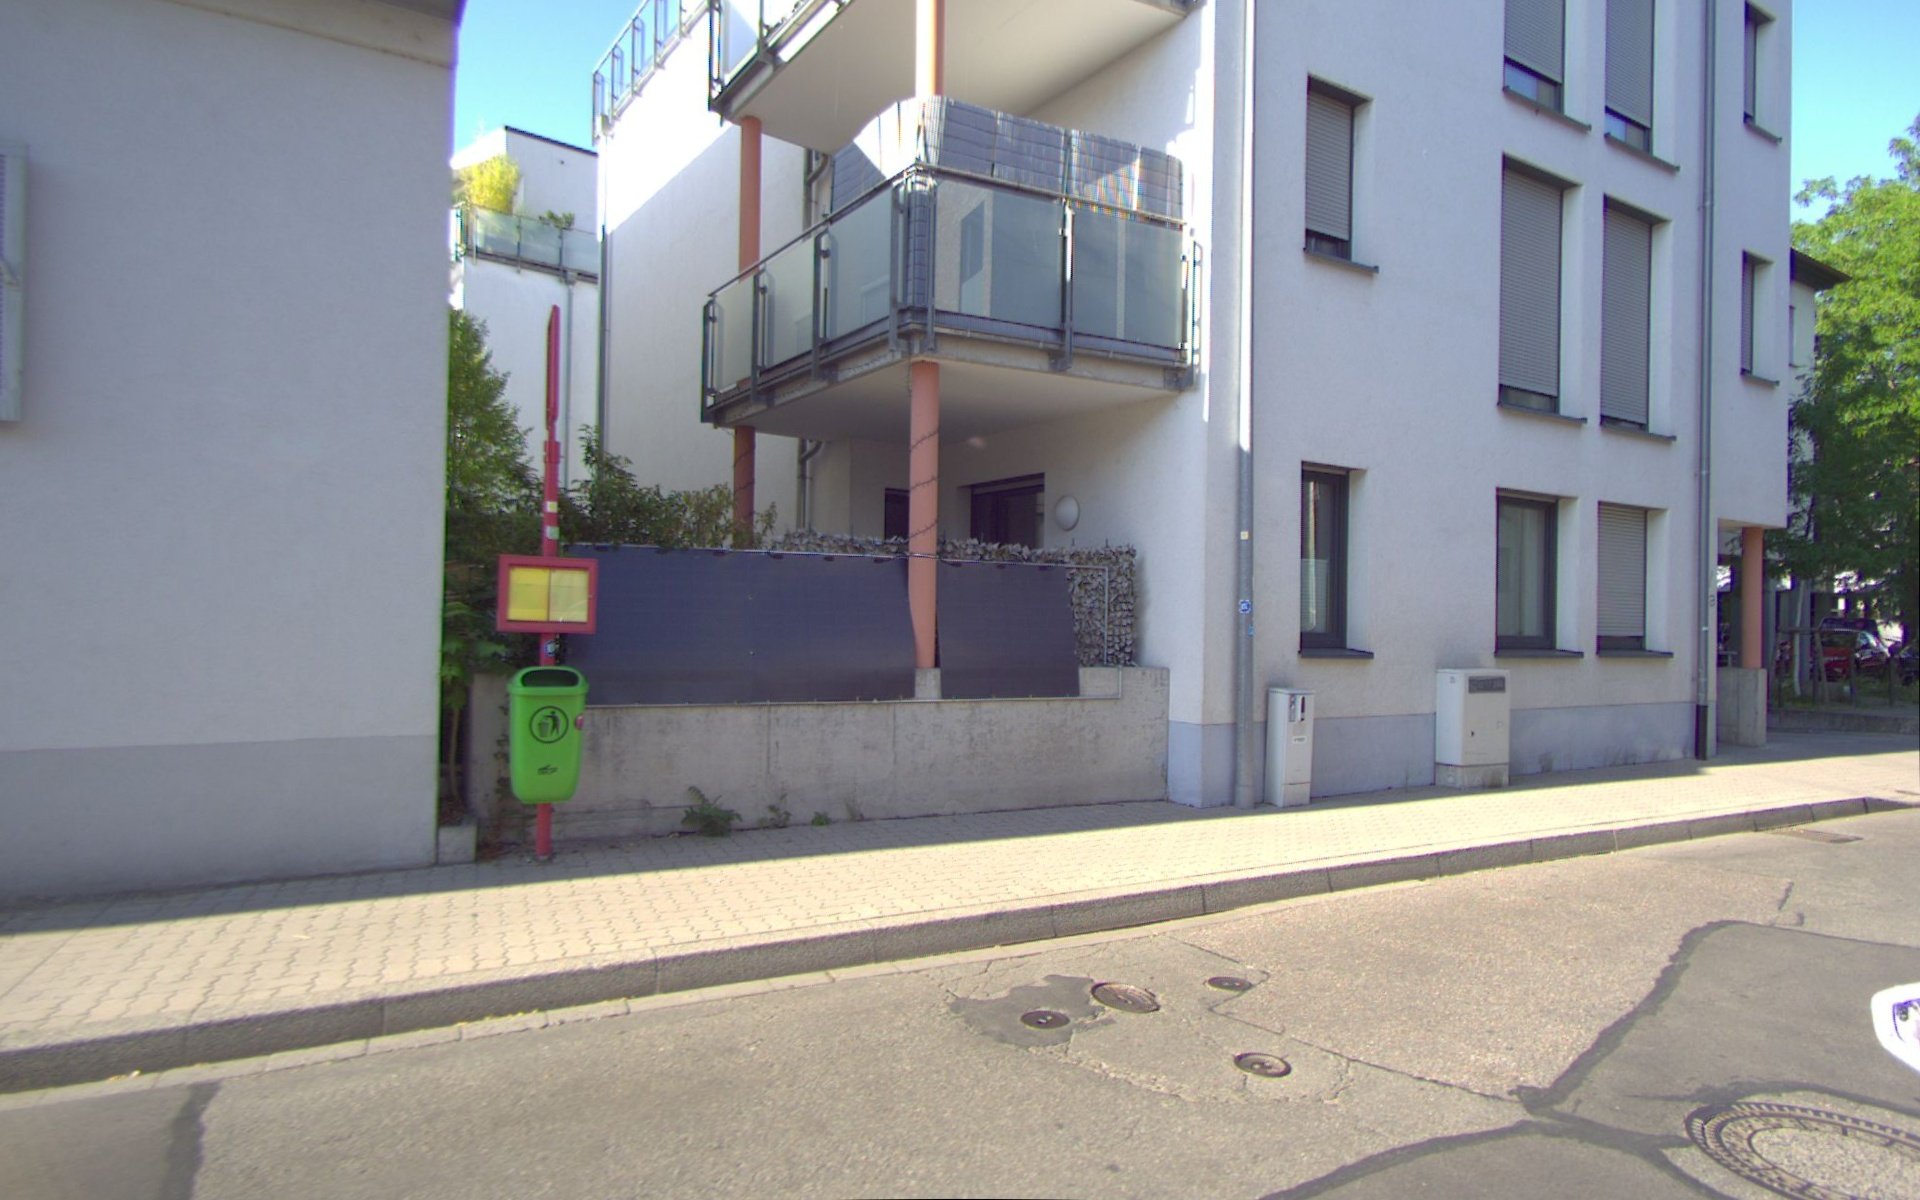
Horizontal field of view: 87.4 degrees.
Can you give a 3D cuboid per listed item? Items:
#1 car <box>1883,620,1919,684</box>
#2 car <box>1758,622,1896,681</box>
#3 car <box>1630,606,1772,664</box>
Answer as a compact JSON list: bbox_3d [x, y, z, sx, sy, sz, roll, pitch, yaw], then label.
[{"bbox_3d":[26.444,1.380,26.538,4.570,1.608,1.847,1,2,-32],"label":"car"},{"bbox_3d":[24.569,1.412,28.436,4.095,1.468,1.709,1,2,-31],"label":"car"},{"bbox_3d":[22.928,1.062,31.045,4.567,1.608,1.848,1,2,-31],"label":"car"}]
